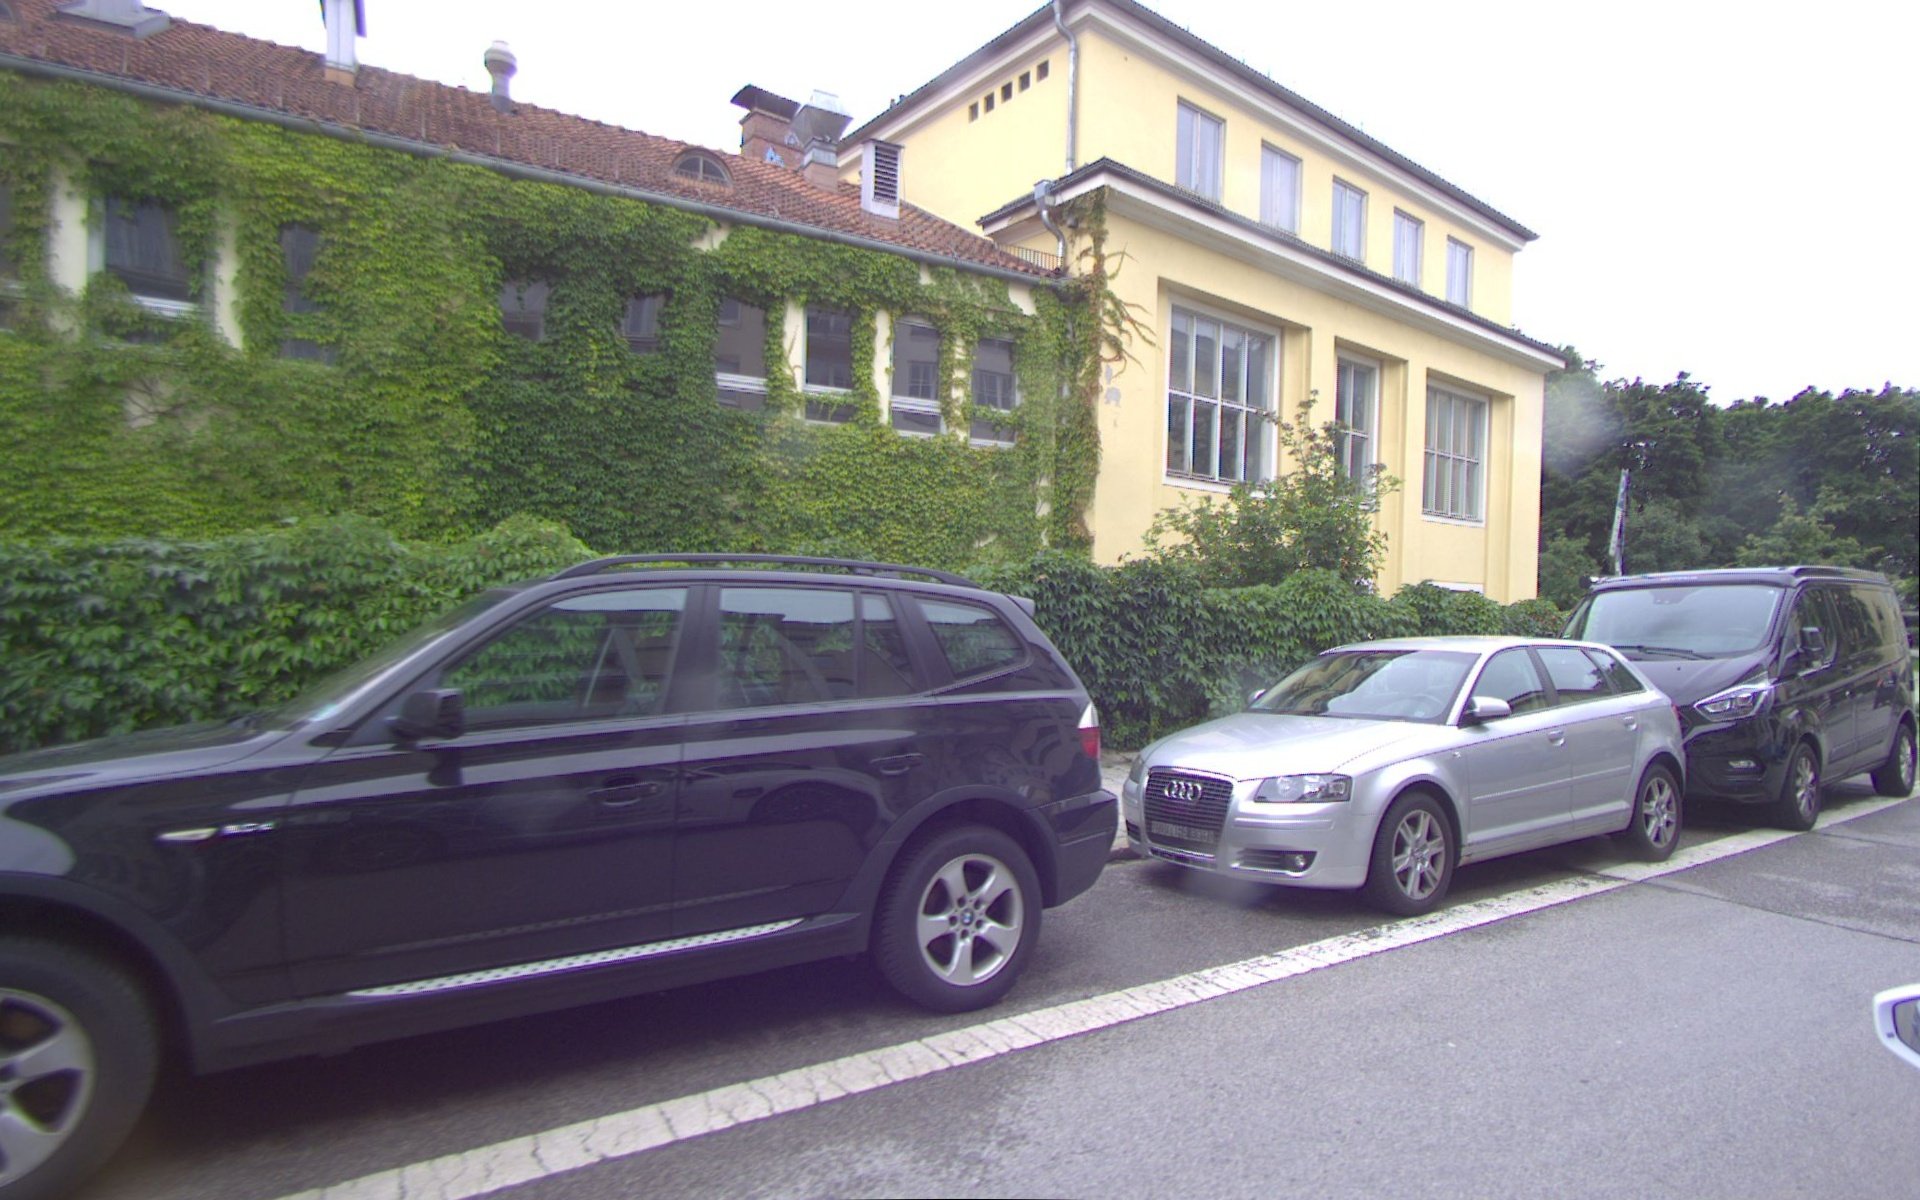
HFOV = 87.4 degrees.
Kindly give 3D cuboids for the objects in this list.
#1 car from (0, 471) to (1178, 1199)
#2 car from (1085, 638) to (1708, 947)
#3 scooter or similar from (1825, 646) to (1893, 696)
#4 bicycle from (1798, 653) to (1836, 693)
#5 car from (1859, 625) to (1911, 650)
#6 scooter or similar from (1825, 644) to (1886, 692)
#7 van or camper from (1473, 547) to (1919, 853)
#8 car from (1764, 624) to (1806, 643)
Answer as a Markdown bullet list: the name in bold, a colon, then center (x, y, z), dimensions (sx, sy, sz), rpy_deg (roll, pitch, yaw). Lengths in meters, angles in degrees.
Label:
- **car**: center (-1.375, 0.653, 3.791), dimensions (4.374, 1.752, 1.612), rpy_deg (2, -4, -31)
- **car**: center (2.863, 0.952, 6.330), dimensions (4.026, 1.396, 1.611), rpy_deg (2, -3, -32)
- **scooter or similar**: center (22.907, 1.786, 25.599), dimensions (0.596, 1.236, 1.171), rpy_deg (2, -2, -34)
- **bicycle**: center (22.092, 1.868, 25.909), dimensions (0.463, 0.935, 1.203), rpy_deg (2, 0, 28)
- **car**: center (66.220, 2.687, 71.973), dimensions (1.836, 1.655, 4.275), rpy_deg (1, 0, 30)
- **scooter or similar**: center (23.398, 1.773, 26.245), dimensions (1.158, 1.236, 0.447), rpy_deg (0, -2, 1)
- **van or camper**: center (6.817, 0.758, 9.035), dimensions (4.706, 2.092, 1.948), rpy_deg (1, -2, -35)
- **car**: center (77.777, 3.148, 94.764), dimensions (2.143, 1.679, 4.500), rpy_deg (1, 0, 27)
